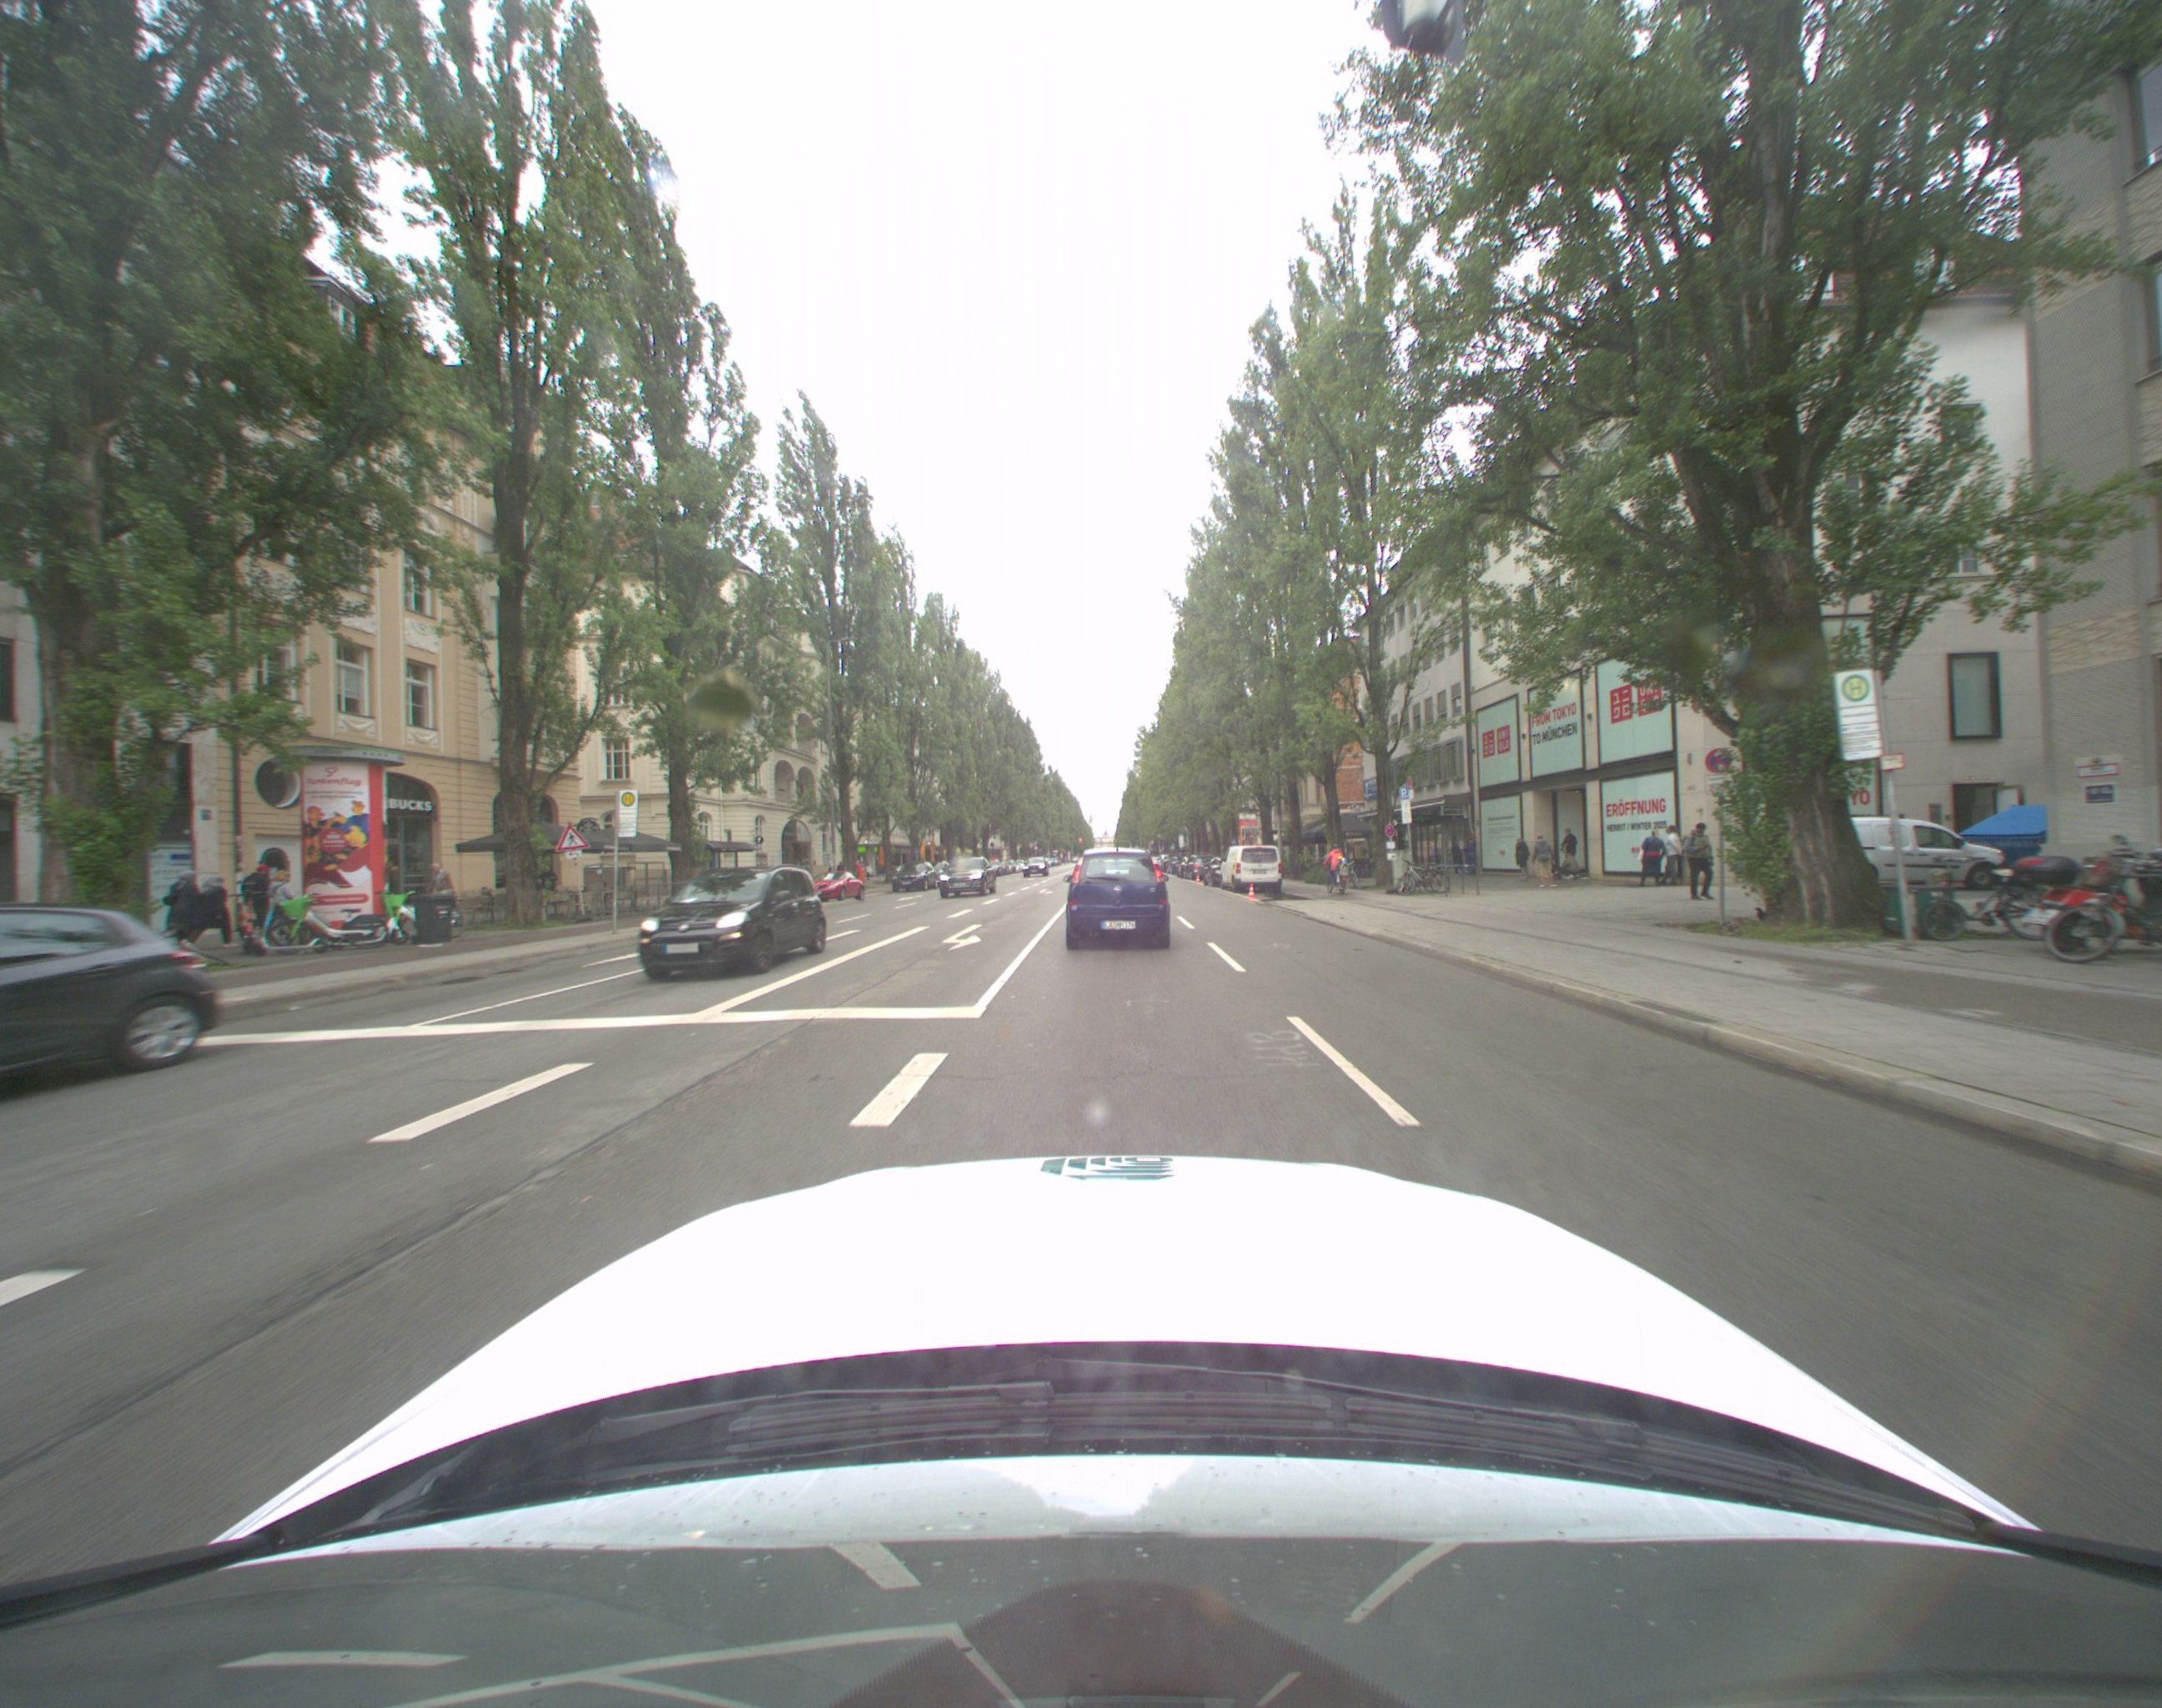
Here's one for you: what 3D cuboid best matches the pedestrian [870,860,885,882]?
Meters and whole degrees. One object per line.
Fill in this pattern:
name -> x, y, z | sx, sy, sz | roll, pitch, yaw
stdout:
pedestrian -> -16.652, 1.405, 66.538 | 0.848, 1.744, 1.148 | -2, 0, 2

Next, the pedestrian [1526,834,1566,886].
pedestrian -> 15.357, 0.200, 26.898 | 0.992, 1.673, 0.816 | -1, 0, -41

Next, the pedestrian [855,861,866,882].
pedestrian -> -18.868, 1.474, 69.746 | 0.623, 1.721, 0.827 | -2, -1, 1

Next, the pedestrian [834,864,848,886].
pedestrian -> -17.449, 1.529, 59.258 | 0.766, 1.537, 0.805 | -2, 0, 1

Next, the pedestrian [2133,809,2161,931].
pedestrian -> 15.240, 0.208, 11.006 | 0.747, 1.677, 0.963 | -2, 0, 3

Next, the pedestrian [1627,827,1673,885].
pedestrian -> 16.839, 0.050, 24.113 | 0.649, 1.663, 0.963 | -2, 0, 2

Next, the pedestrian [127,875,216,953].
pedestrian -> -19.083, 1.235, 17.115 | 0.749, 1.567, 0.988 | 0, -1, -3

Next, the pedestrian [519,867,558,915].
pedestrian -> -20.282, 1.370, 30.452 | 0.901, 1.744, 0.822 | 0, -1, 7

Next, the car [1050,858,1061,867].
car -> -5.354, 1.772, 172.549 | 1.986, 1.662, 4.001 | -2, 0, 1

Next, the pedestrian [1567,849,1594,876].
pedestrian -> 18.331, 0.302, 29.889 | 0.568, 0.969, 0.672 | -2, 0, 3

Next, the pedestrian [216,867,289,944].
pedestrian -> -19.914, 1.222, 19.599 | 0.797, 1.787, 0.912 | 0, 0, 2

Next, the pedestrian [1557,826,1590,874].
pedestrian -> 18.693, -0.159, 30.947 | 0.679, 1.764, 0.867 | -2, 0, 1

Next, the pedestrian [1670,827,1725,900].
pedestrian -> 14.444, 0.222, 19.113 | 0.557, 1.666, 0.930 | -2, 0, 3

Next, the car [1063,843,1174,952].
car -> 0.602, 0.669, 14.472 | 1.675, 1.641, 4.000 | -1, 0, 1

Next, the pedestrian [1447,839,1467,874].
pedestrian -> 17.656, 0.136, 38.263 | 0.666, 1.609, 0.773 | -1, -1, 9

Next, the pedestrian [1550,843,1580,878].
pedestrian -> 17.699, 0.239, 29.783 | 0.667, 1.234, 0.685 | -2, 0, 3

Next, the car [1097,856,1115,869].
car -> 2.847, 0.956, 93.959 | 1.987, 1.497, 4.000 | -2, 0, 1

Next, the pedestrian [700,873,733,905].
pedestrian -> -15.265, 1.458, 34.139 | 0.956, 1.256, 0.758 | -2, 0, 4

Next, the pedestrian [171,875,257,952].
pedestrian -> -18.340, 1.231, 17.247 | 0.749, 1.567, 0.988 | 0, -1, -3

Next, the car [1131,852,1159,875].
car -> 4.585, 0.641, 58.874 | 1.701, 1.574, 3.999 | -1, 0, 0

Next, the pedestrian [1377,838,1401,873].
pedestrian -> 16.565, 0.079, 43.855 | 0.823, 1.841, 1.099 | -2, 0, 1

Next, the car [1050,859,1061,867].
car -> -5.263, 1.892, 166.159 | 1.955, 1.549, 3.779 | -2, 0, 1

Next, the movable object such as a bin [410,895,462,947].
movable object such as a bin -> -13.996, 1.436, 17.694 | 0.726, 1.041, 0.848 | 0, -1, -27

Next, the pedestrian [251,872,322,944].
pedestrian -> -19.052, 1.275, 19.550 | 0.729, 1.682, 0.978 | 0, 0, 2

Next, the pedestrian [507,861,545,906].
pedestrian -> -22.300, 1.184, 32.756 | 0.901, 1.744, 0.822 | -2, -1, 7

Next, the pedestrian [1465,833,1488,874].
pedestrian -> 18.276, -0.032, 37.595 | 0.861, 1.829, 0.841 | -2, 0, 29

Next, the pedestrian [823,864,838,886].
pedestrian -> -18.326, 1.543, 59.524 | 0.766, 1.537, 0.805 | -2, 0, 1

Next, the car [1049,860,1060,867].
car -> -5.289, 1.870, 161.892 | 1.955, 1.399, 3.779 | -2, 0, 1

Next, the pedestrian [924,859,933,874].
pedestrian -> -18.309, 1.470, 97.743 | 0.848, 1.744, 1.148 | -2, 0, 2

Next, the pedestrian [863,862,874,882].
pedestrian -> -18.193, 1.536, 69.707 | 0.623, 1.721, 0.827 | -2, -1, 1

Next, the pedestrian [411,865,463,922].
pedestrian -> -20.261, 1.220, 25.632 | 0.840, 1.744, 0.955 | 0, -1, 2

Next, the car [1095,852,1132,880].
car -> 1.854, 0.656, 47.486 | 1.987, 1.497, 4.000 | -2, 0, 1

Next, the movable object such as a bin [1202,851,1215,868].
movable object such as a bin -> 13.119, 0.590, 83.769 | 1.030, 1.703, 1.585 | -2, 0, -2

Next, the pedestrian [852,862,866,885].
pedestrian -> -16.828, 1.450, 61.704 | 0.731, 1.673, 0.953 | -2, 0, 1

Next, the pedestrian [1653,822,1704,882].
pedestrian -> 17.667, -0.067, 24.096 | 0.747, 1.718, 0.963 | -2, 0, 2

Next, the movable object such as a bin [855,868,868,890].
movable object such as a bin -> -14.020, 1.598, 52.108 | 0.602, 1.316, 0.586 | -2, -1, 2

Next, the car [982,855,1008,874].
car -> -8.312, 0.981, 79.108 | 1.858, 1.654, 4.616 | -4, 0, 1

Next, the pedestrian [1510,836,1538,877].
pedestrian -> 17.848, 0.086, 32.827 | 0.667, 1.609, 0.829 | -2, 0, 4
